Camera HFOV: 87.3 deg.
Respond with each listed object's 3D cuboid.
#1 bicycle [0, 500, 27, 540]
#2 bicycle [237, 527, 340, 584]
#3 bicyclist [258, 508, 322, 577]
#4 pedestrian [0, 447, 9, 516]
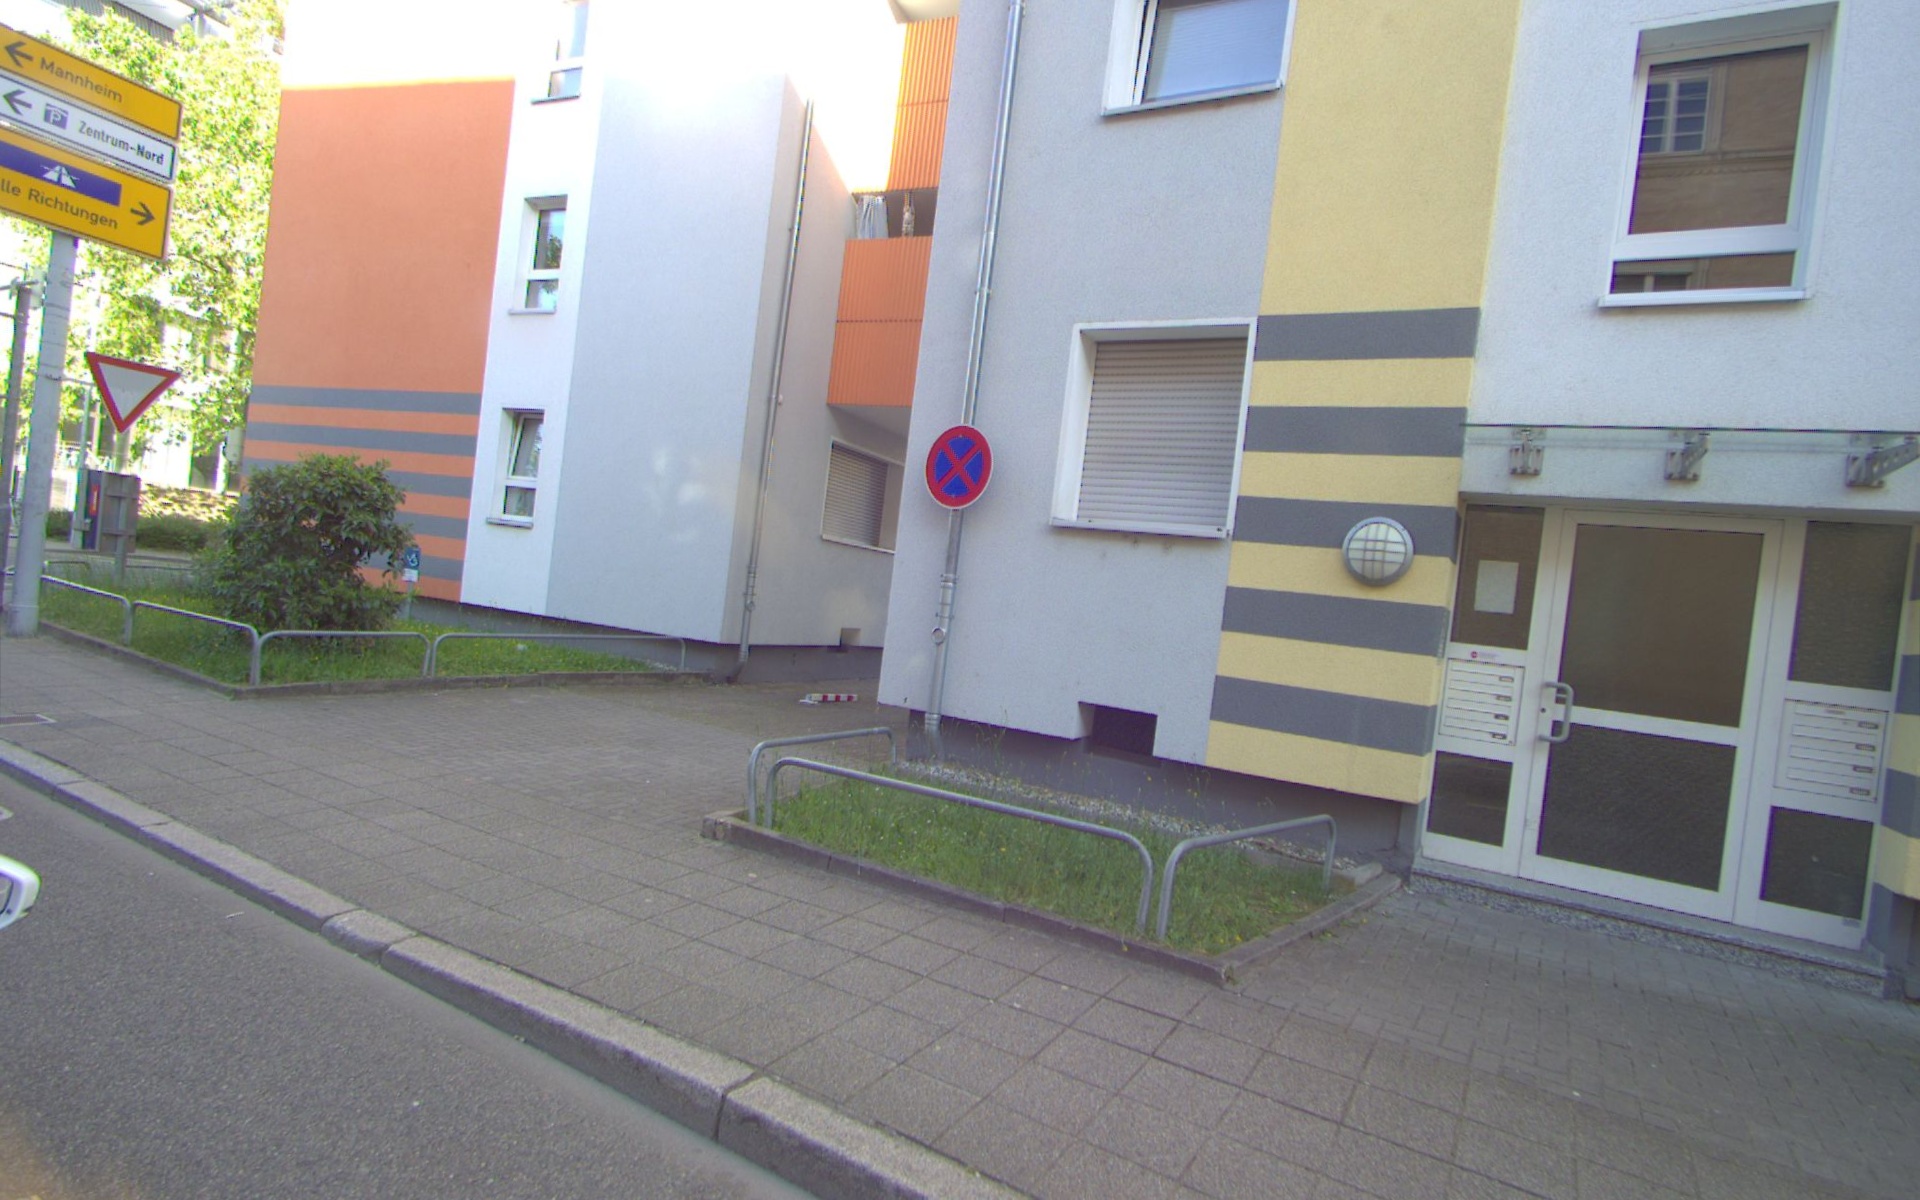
[{"bbox_3d":[-26.391,-2.239,27.387,1.409,1.021,0.379,7,1,-11],"label":"bicycle"},{"bbox_3d":[-16.631,-1.091,24.959,0.583,1.166,1.963,7,0,37],"label":"bicycle"},{"bbox_3d":[-16.603,-1.410,24.951,0.583,1.546,1.075,7,1,37],"label":"bicyclist"},{"bbox_3d":[-9.279,-0.546,9.069,0.708,1.831,0.701,6,-1,32],"label":"pedestrian"}]
